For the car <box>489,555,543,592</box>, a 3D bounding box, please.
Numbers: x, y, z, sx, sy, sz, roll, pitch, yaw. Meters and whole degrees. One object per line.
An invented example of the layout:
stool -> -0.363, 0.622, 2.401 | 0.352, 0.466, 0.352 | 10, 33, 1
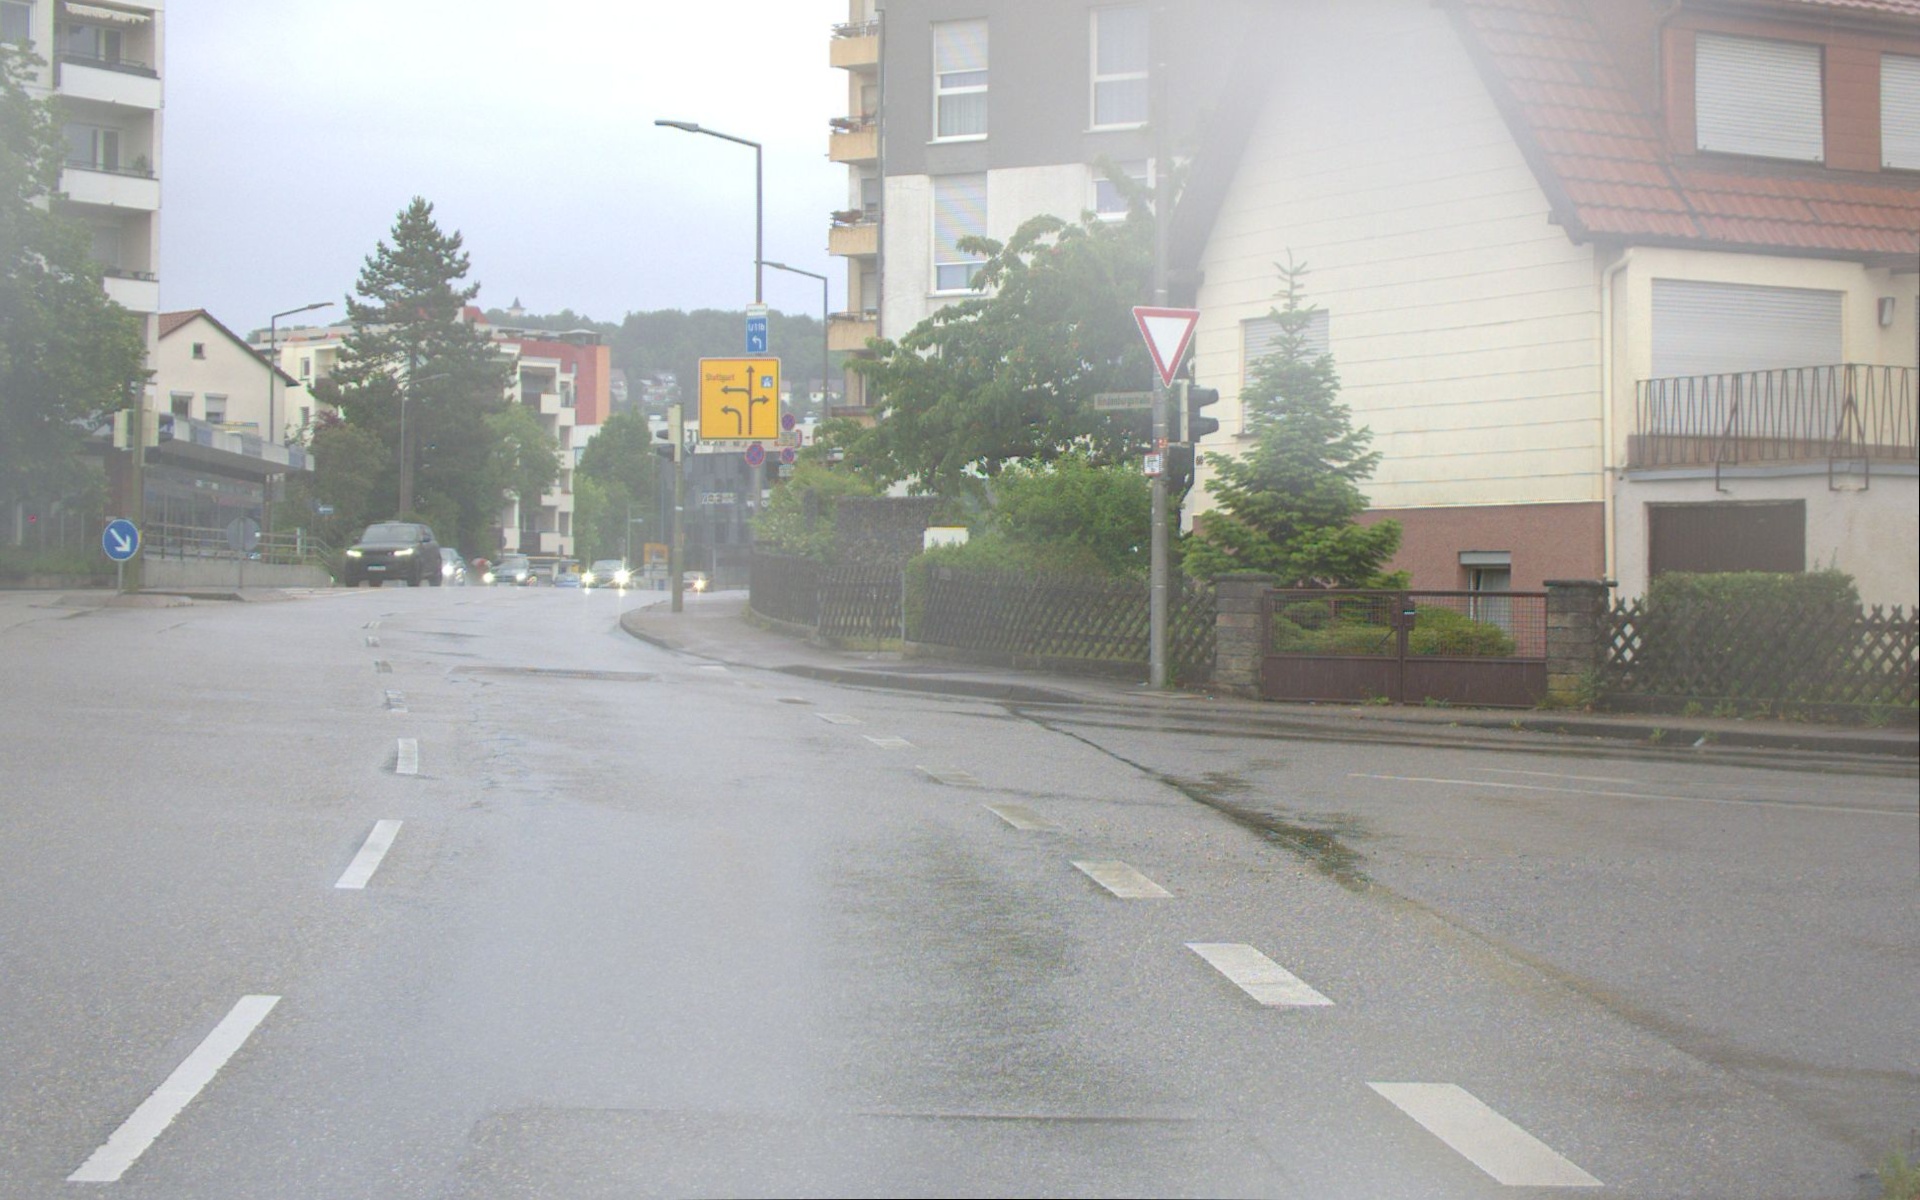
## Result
car -> -18.010, -1.091, 139.547 | 1.993, 1.458, 4.001 | 1, 1, -5

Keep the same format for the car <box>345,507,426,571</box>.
car -> -16.233, -1.713, 97.377 | 1.993, 1.731, 5.182 | 1, 1, -7

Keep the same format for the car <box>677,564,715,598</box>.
car -> -14.460, -1.062, 187.934 | 1.993, 1.805, 4.001 | 1, 1, -5

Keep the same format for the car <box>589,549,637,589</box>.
car -> -14.886, -1.350, 147.521 | 1.993, 1.673, 4.001 | 1, 1, -5
